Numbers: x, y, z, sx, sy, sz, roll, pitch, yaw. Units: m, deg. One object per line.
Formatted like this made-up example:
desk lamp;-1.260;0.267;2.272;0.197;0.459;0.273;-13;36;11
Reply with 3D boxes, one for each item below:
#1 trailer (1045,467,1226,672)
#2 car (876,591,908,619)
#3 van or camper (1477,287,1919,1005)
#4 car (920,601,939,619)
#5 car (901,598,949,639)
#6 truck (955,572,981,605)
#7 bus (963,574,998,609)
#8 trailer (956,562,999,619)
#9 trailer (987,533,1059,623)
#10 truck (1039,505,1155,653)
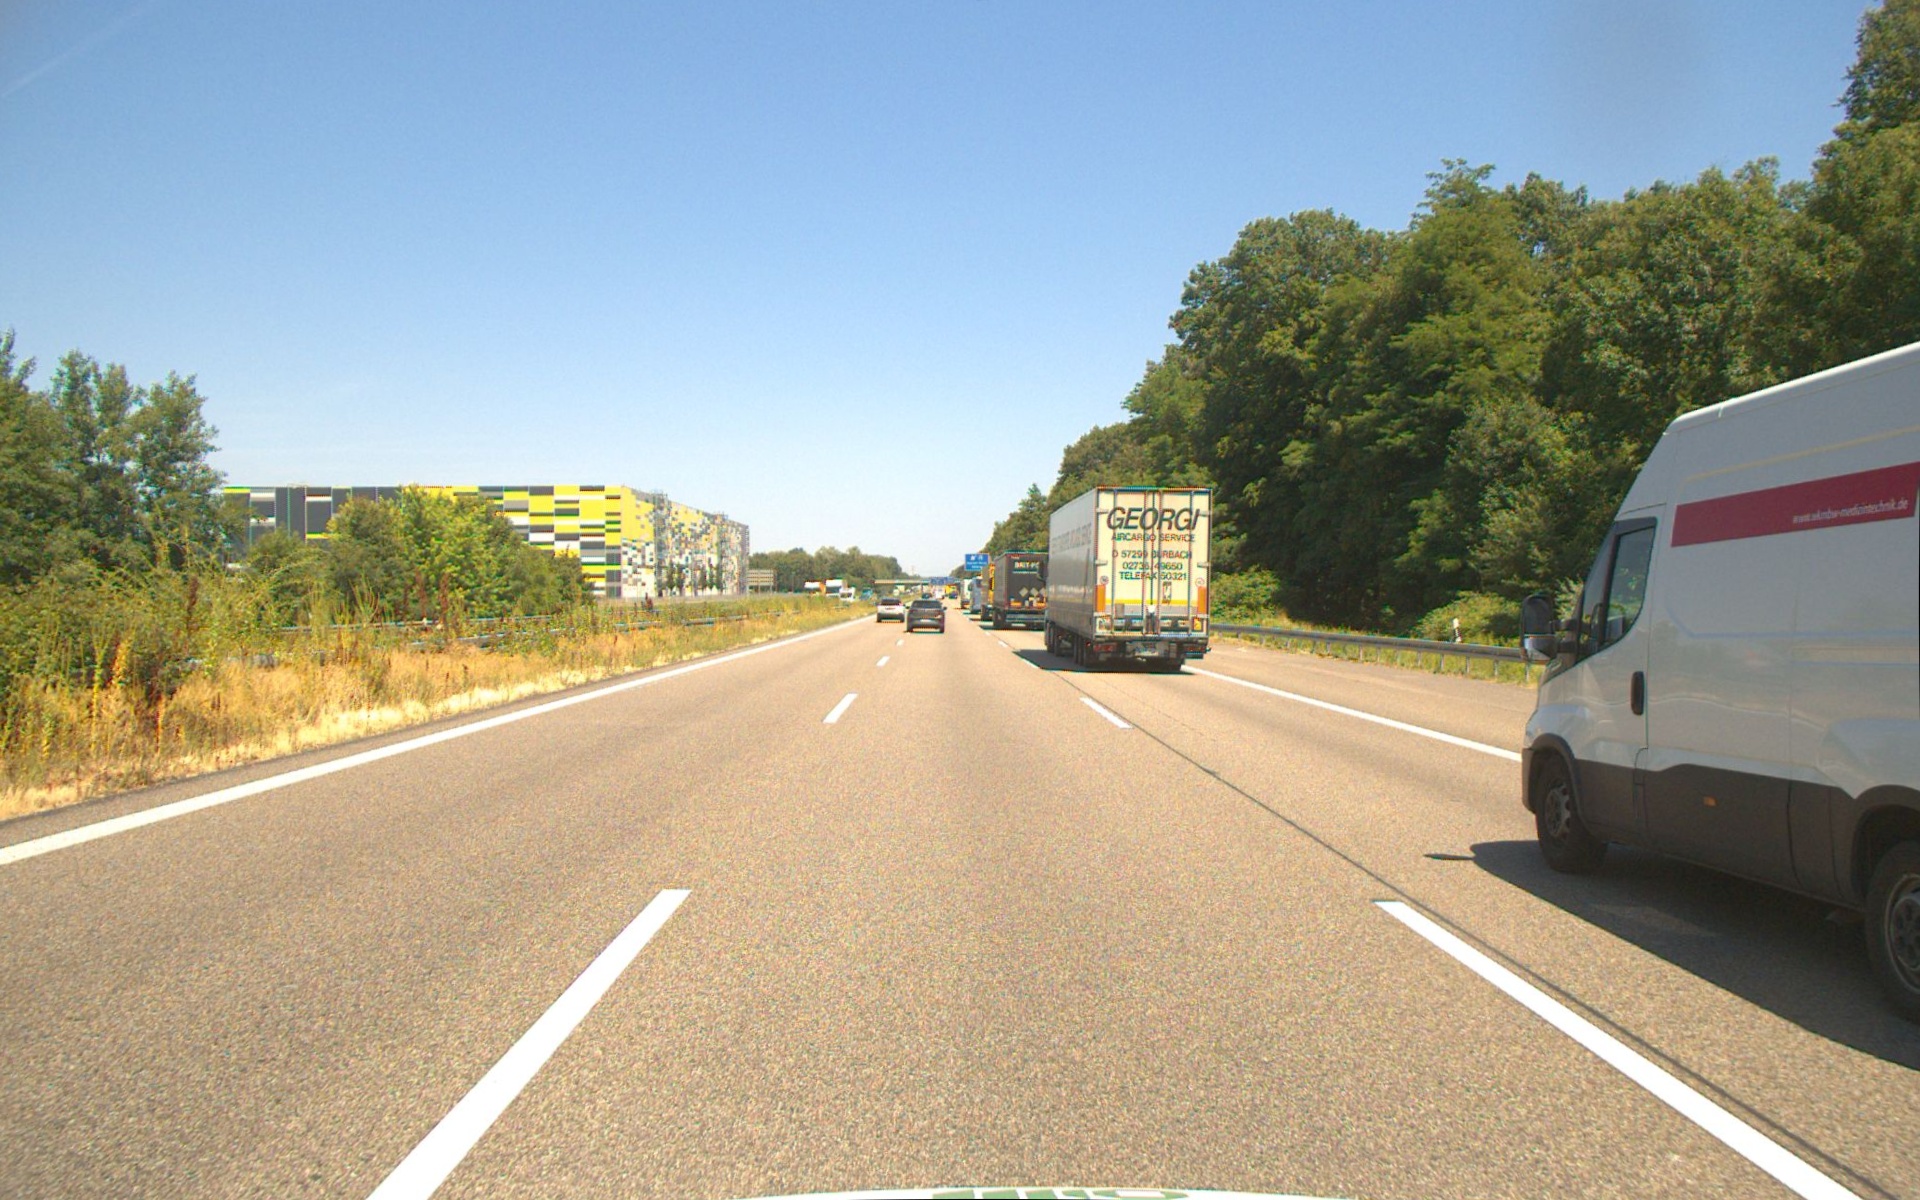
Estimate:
trailer;4.133;-0.649;42.415;2.933;4.364;13.415;1;0;-1
car;-4.372;0.303;106.813;1.953;1.758;4.129;1;0;-2
van or camper;4.548;0.185;7.891;1.981;2.683;6.485;1;0;-1
car;-3.009;0.967;163.313;1.902;1.736;3.999;0;0;-1
car;-1.628;0.842;77.958;2.171;1.821;5.392;0;0;-1
truck;1.040;-1.430;216.875;3.352;4.198;9.564;-1;0;0
bus;1.996;-0.800;165.434;3.001;3.385;8.270;-1;0;-2
trailer;1.222;-0.664;123.340;2.777;4.023;11.681;1;0;-1
trailer;3.378;-1.111;92.986;3.043;4.585;14.891;1;0;-2
truck;4.025;-0.585;49.753;2.941;4.197;5.251;1;0;-1
